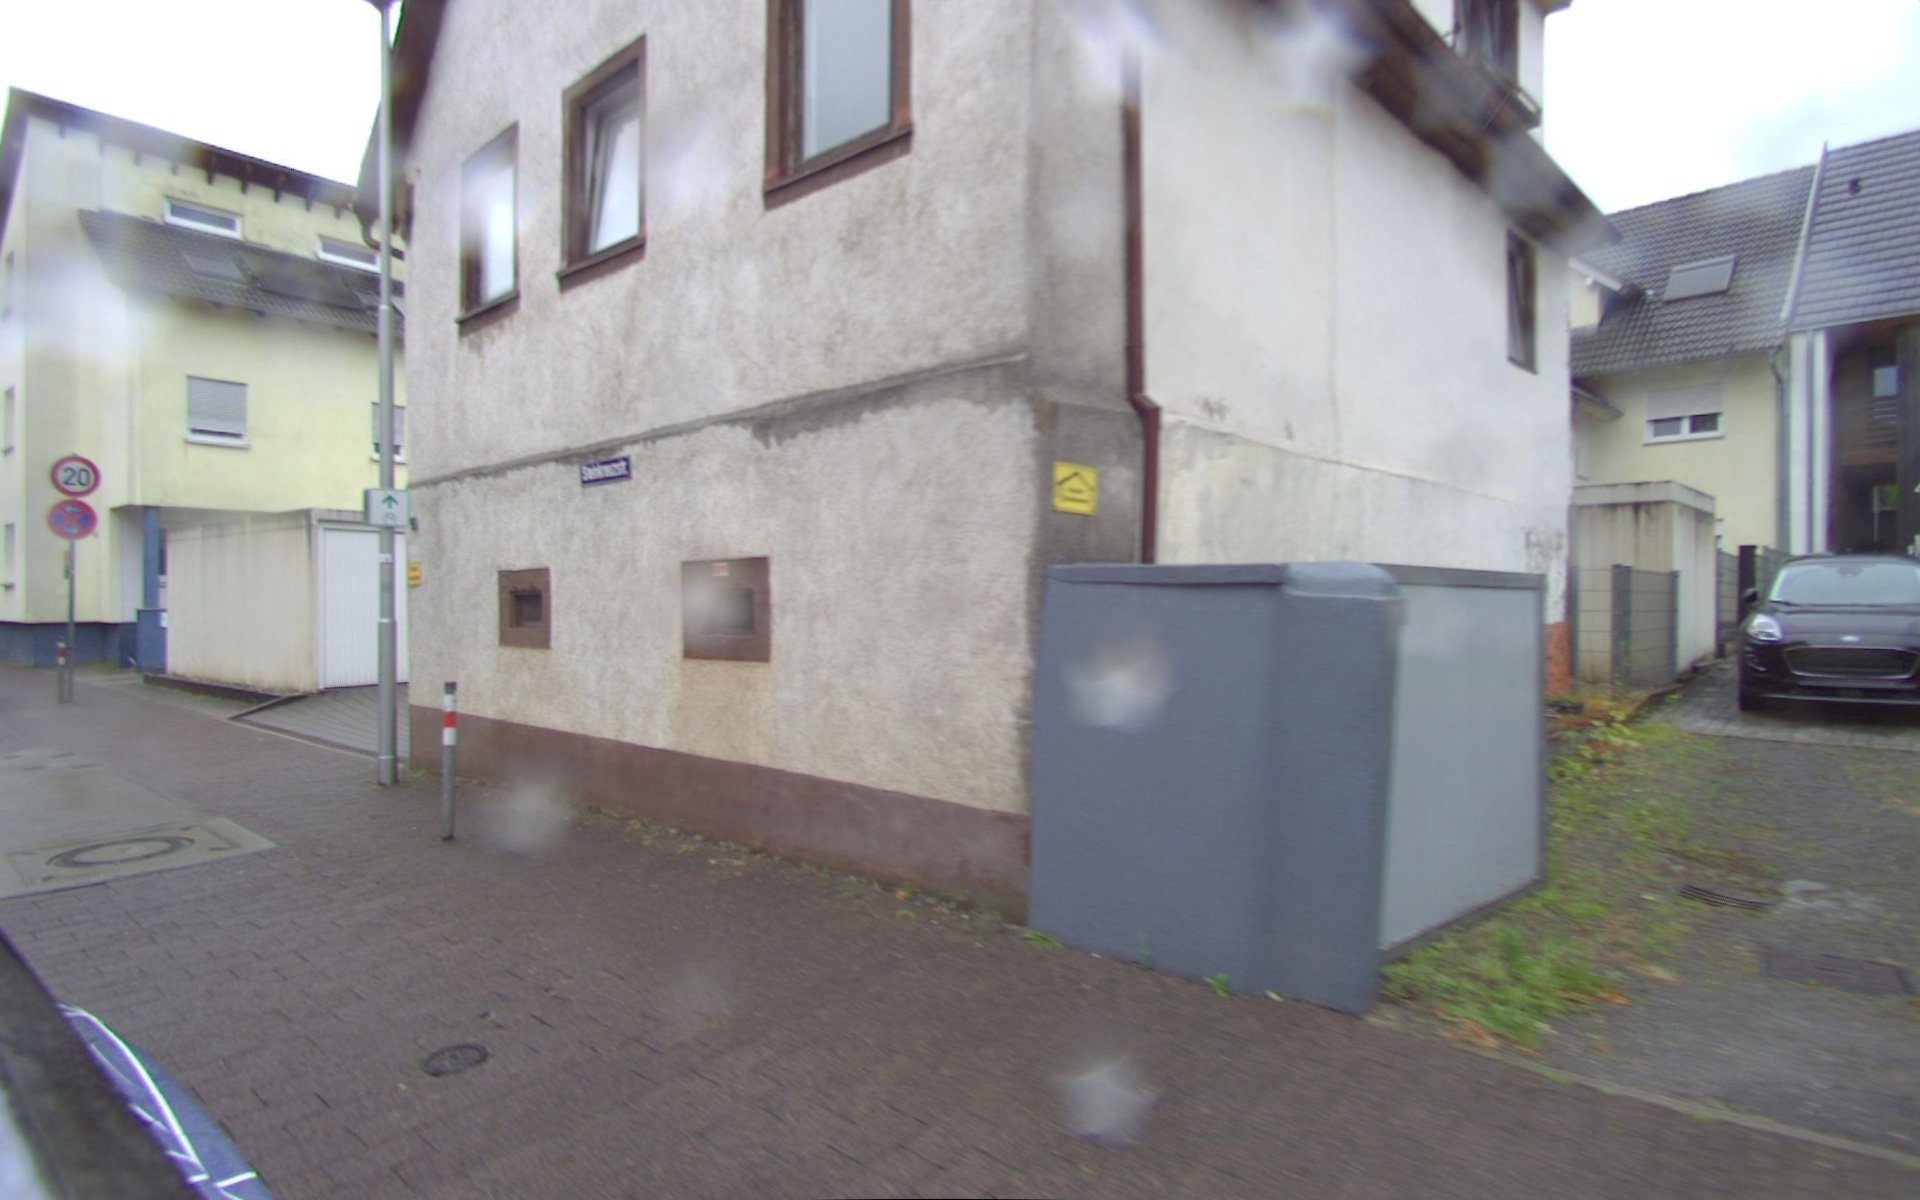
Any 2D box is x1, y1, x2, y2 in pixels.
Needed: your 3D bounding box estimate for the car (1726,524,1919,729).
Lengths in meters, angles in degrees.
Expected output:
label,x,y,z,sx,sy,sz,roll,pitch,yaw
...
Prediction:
label,x,y,z,sx,sy,sz,roll,pitch,yaw
car,9.367,0.131,10.556,2.032,1.733,4.163,-1,3,36
